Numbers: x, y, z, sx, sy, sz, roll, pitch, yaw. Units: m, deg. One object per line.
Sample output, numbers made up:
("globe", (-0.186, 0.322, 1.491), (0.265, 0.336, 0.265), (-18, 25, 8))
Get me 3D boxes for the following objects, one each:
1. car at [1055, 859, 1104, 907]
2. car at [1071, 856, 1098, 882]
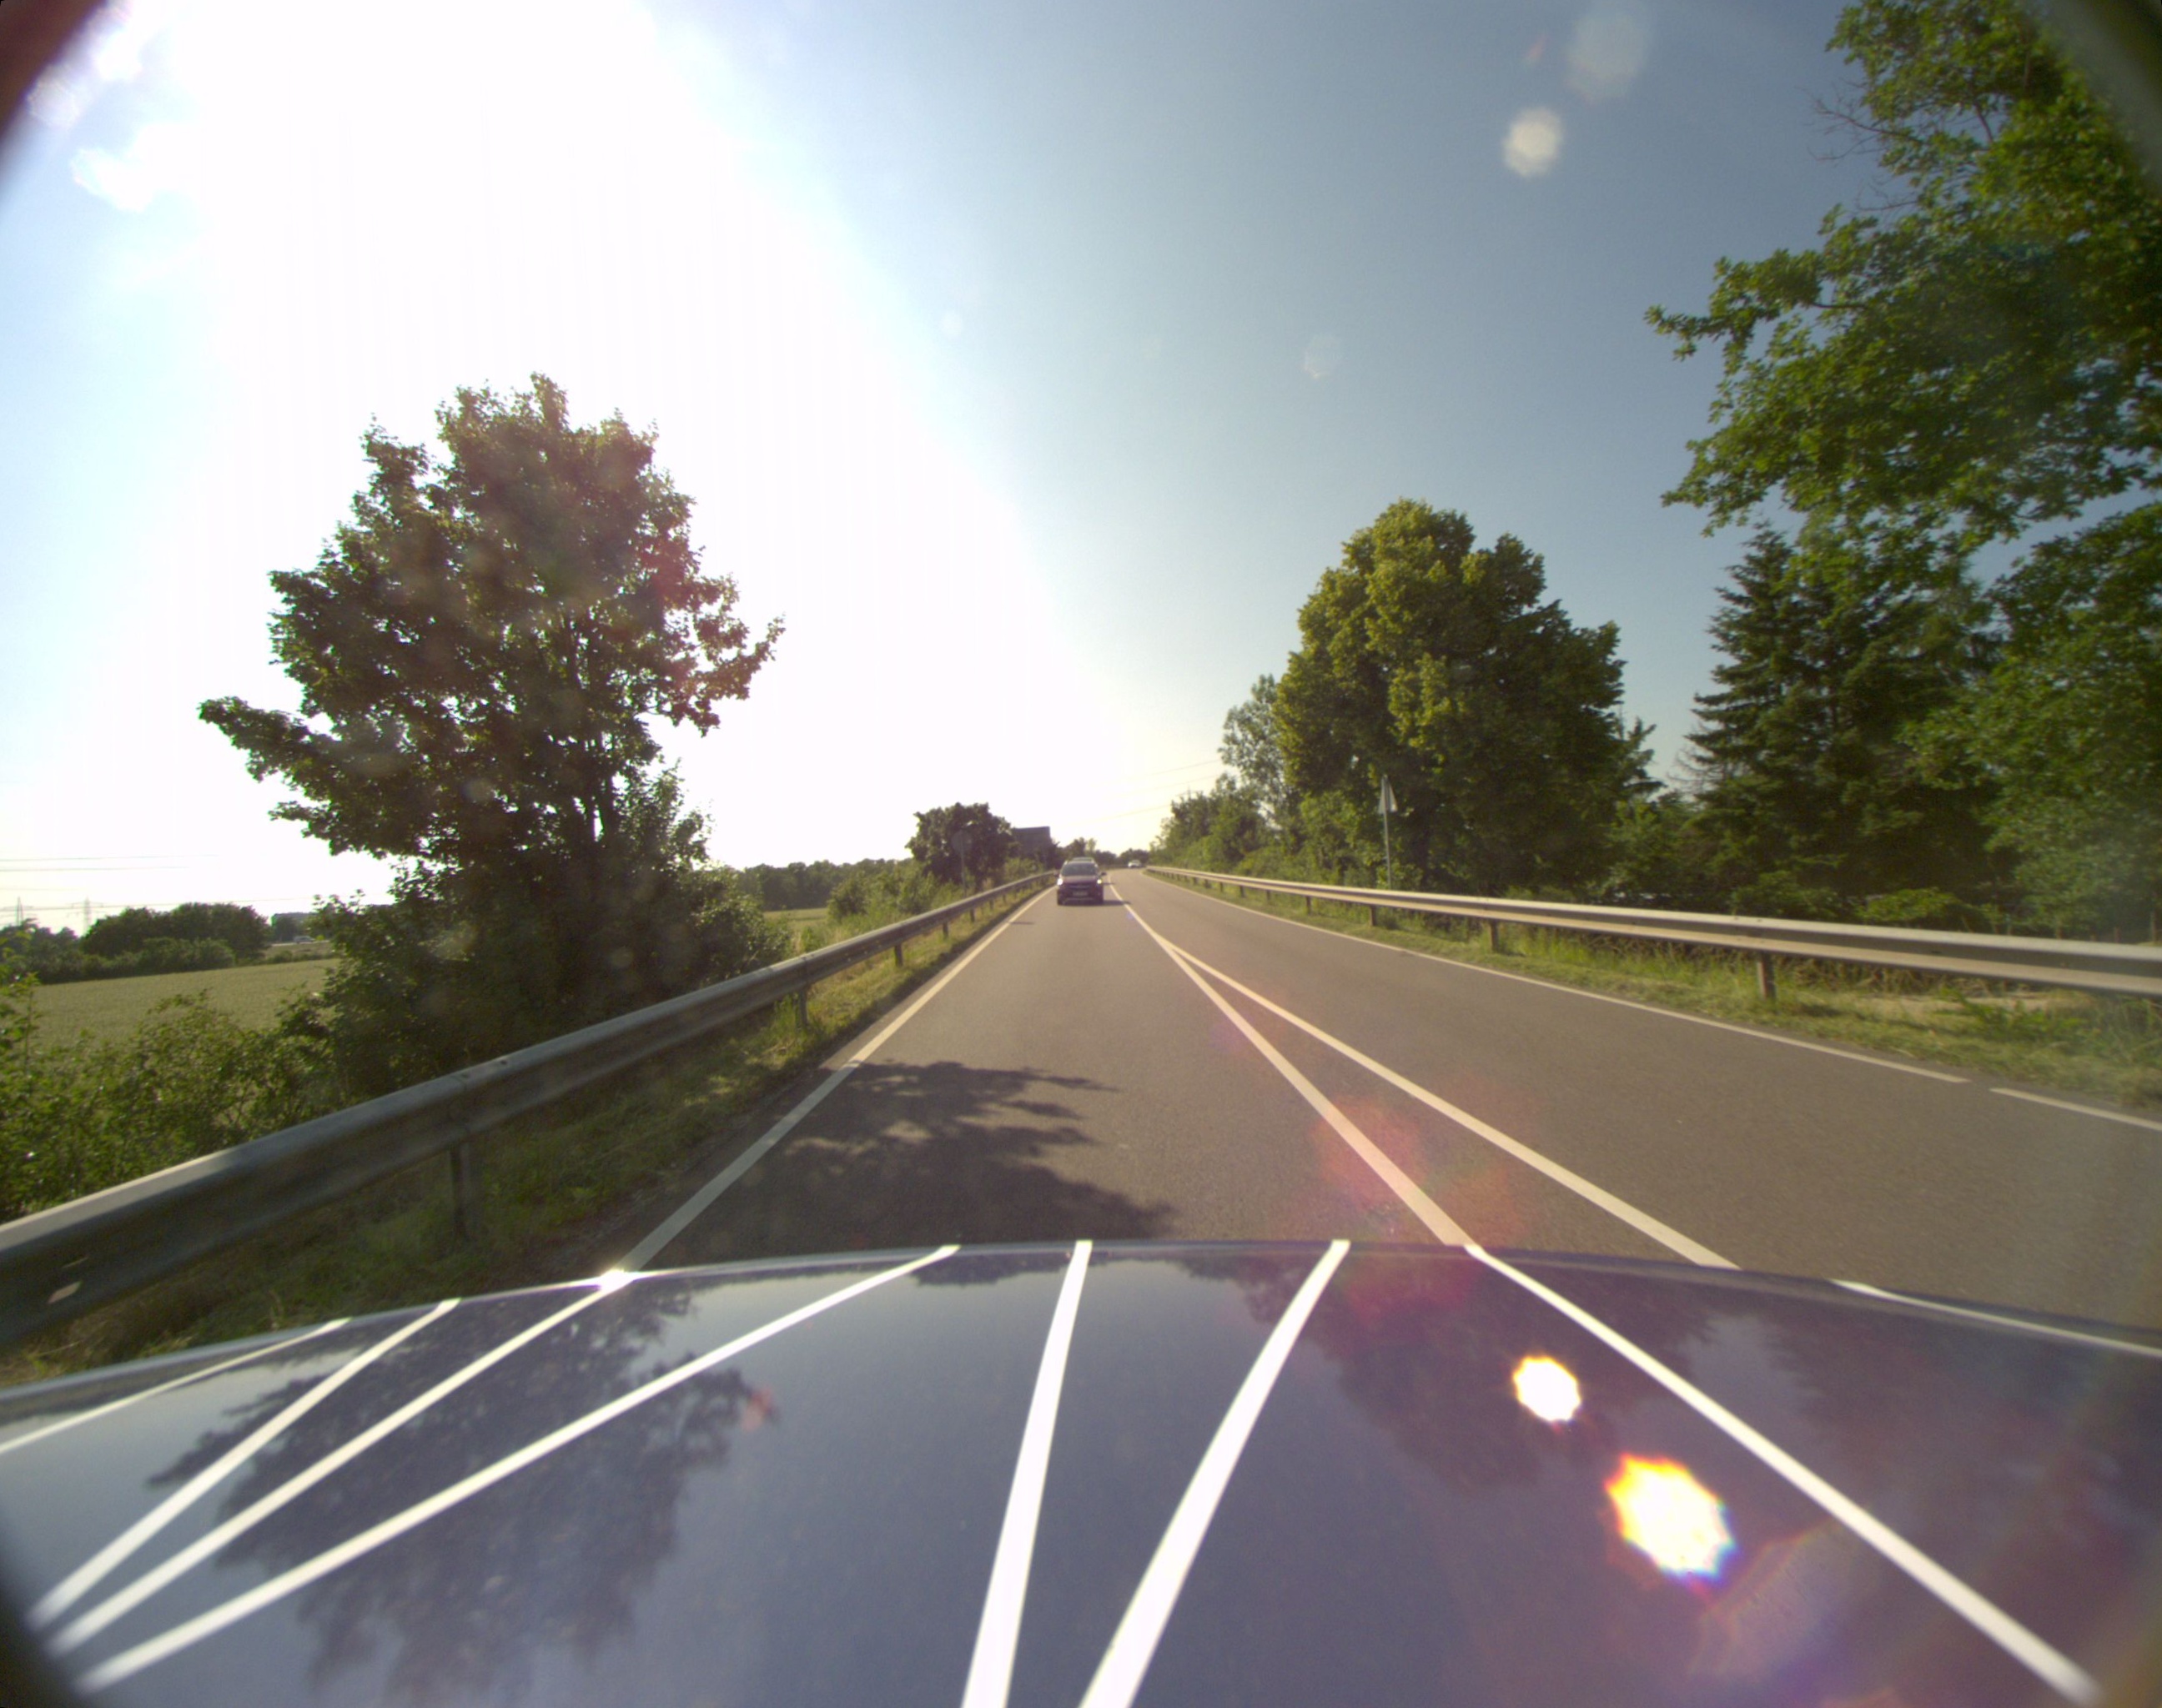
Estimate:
("car", (-0.056, 0.994, 27.553), (1.607, 1.486, 3.999), (-2, 0, 0))
("car", (0.259, 0.929, 49.099), (1.606, 1.486, 4.000), (-2, 0, 2))
